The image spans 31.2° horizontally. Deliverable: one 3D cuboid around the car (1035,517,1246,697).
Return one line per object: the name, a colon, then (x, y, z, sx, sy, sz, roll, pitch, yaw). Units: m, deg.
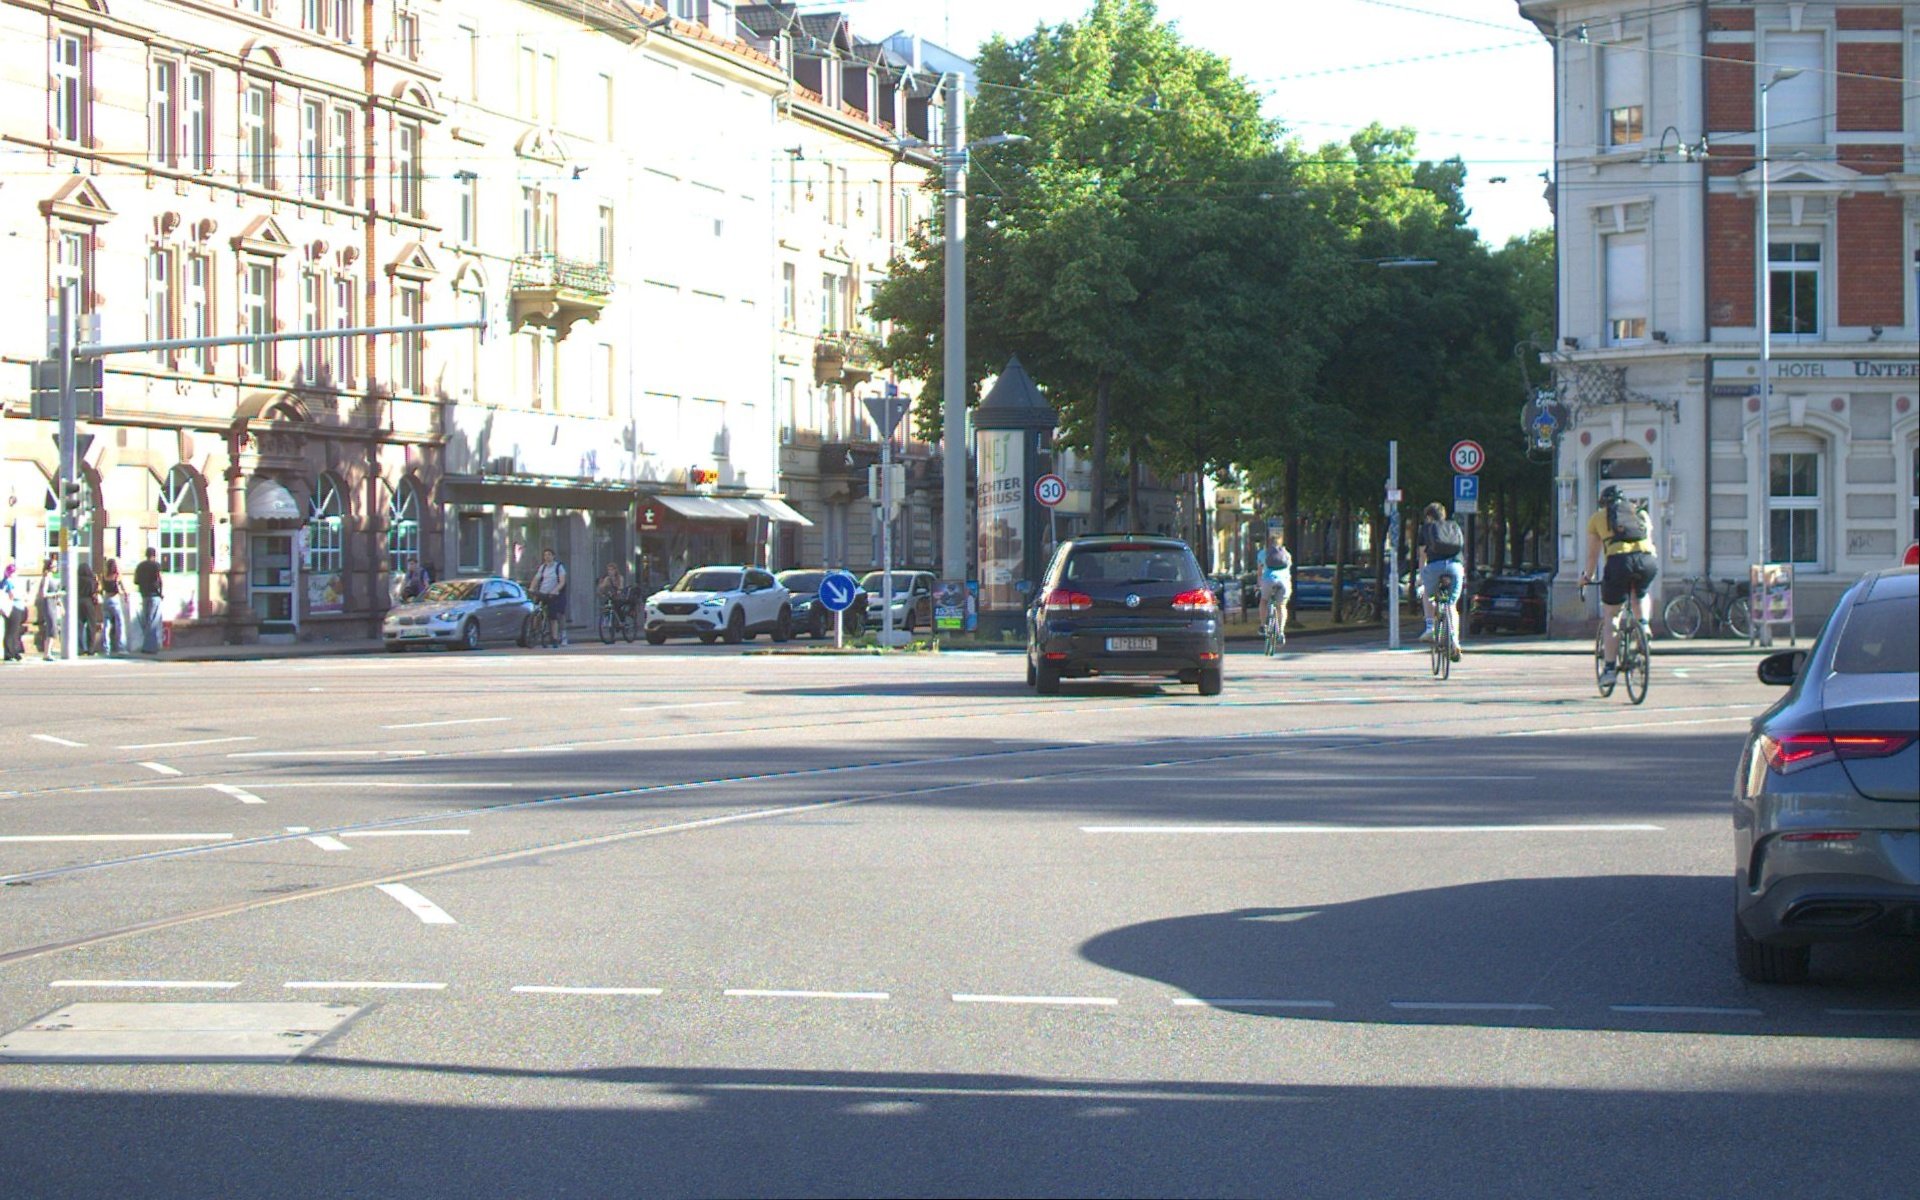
car: (1.655, 0.013, 32.703, 1.728, 1.502, 4.051, 1, 2, -1)

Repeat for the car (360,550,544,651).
car: (-9.877, -0.008, 67.145, 1.995, 1.897, 3.997, 1, 1, 17)

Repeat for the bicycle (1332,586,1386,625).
bicycle: (11.503, 0.160, 99.083, 0.626, 1.081, 1.703, 1, 1, -31)

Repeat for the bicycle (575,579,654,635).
bicycle: (-7.058, 0.133, 70.412, 0.651, 1.119, 2.250, 1, 1, 21)

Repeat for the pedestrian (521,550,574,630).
pedestrian: (-7.831, -0.192, 65.220, 0.821, 1.507, 0.598, 1, 0, 15)

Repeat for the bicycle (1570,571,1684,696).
bicycle: (5.746, 0.276, 29.551, 0.755, 1.027, 1.779, 1, 1, 17)

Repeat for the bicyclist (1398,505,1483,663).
bicyclist: (4.963, -0.167, 35.543, 0.806, 1.601, 0.883, 1, 0, 5)

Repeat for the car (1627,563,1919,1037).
car: (3.806, 0.587, 12.479, 1.907, 1.415, 4.493, 1, 1, 0)

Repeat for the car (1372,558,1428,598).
car: (17.243, -0.869, 134.614, 1.560, 1.508, 3.653, 1, 1, 17)

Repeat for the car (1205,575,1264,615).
car: (10.866, -0.207, 136.089, 1.560, 1.508, 3.653, 1, 1, 17)

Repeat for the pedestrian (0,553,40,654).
pedestrian: (-15.322, 0.048, 55.740, 0.633, 1.628, 0.701, 1, 0, -4)

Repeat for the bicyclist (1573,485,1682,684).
bicyclist: (5.696, -0.138, 29.306, 0.806, 1.657, 0.883, 1, 0, 17)

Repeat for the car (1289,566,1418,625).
car: (13.159, -0.175, 114.986, 3.990, 1.897, 1.998, 1, 1, 16)

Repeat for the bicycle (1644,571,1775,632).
bicycle: (12.449, 0.023, 57.150, 2.049, 0.994, 0.630, 0, 0, 3)

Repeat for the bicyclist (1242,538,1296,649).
bicyclist: (4.622, -0.099, 51.418, 0.689, 1.627, 0.883, 1, 0, -1)

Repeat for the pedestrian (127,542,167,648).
pedestrian: (-14.485, -0.099, 61.253, 0.464, 1.875, 0.635, 1, 0, 10)

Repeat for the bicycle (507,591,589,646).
bicycle: (-7.817, 0.335, 65.300, 0.763, 1.004, 2.395, 1, 1, 13)

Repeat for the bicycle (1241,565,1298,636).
bicycle: (4.621, 0.002, 51.427, 0.649, 1.028, 1.771, 1, 1, -1)

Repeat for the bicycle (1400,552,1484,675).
bicycle: (4.972, 0.132, 35.542, 0.755, 1.232, 1.702, 1, 1, 5)

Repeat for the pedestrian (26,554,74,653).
pedestrian: (-15.153, 0.050, 57.261, 0.633, 1.628, 0.701, 1, 0, -4)

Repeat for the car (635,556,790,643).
car: (-4.797, -0.027, 67.212, 1.994, 1.612, 3.998, 1, 1, 11)

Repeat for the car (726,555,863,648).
car: (-3.507, 0.013, 73.742, 1.994, 1.897, 3.998, 1, 1, 11)

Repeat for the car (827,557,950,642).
car: (-1.627, -0.023, 79.810, 1.994, 1.897, 3.998, 1, 1, 11)

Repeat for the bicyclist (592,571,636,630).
bicyclist: (-7.077, 0.008, 70.314, 0.632, 1.181, 0.684, 1, 0, 21)

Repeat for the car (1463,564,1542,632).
car: (13.066, -0.056, 82.604, 1.692, 1.559, 3.839, 1, 1, 11)
